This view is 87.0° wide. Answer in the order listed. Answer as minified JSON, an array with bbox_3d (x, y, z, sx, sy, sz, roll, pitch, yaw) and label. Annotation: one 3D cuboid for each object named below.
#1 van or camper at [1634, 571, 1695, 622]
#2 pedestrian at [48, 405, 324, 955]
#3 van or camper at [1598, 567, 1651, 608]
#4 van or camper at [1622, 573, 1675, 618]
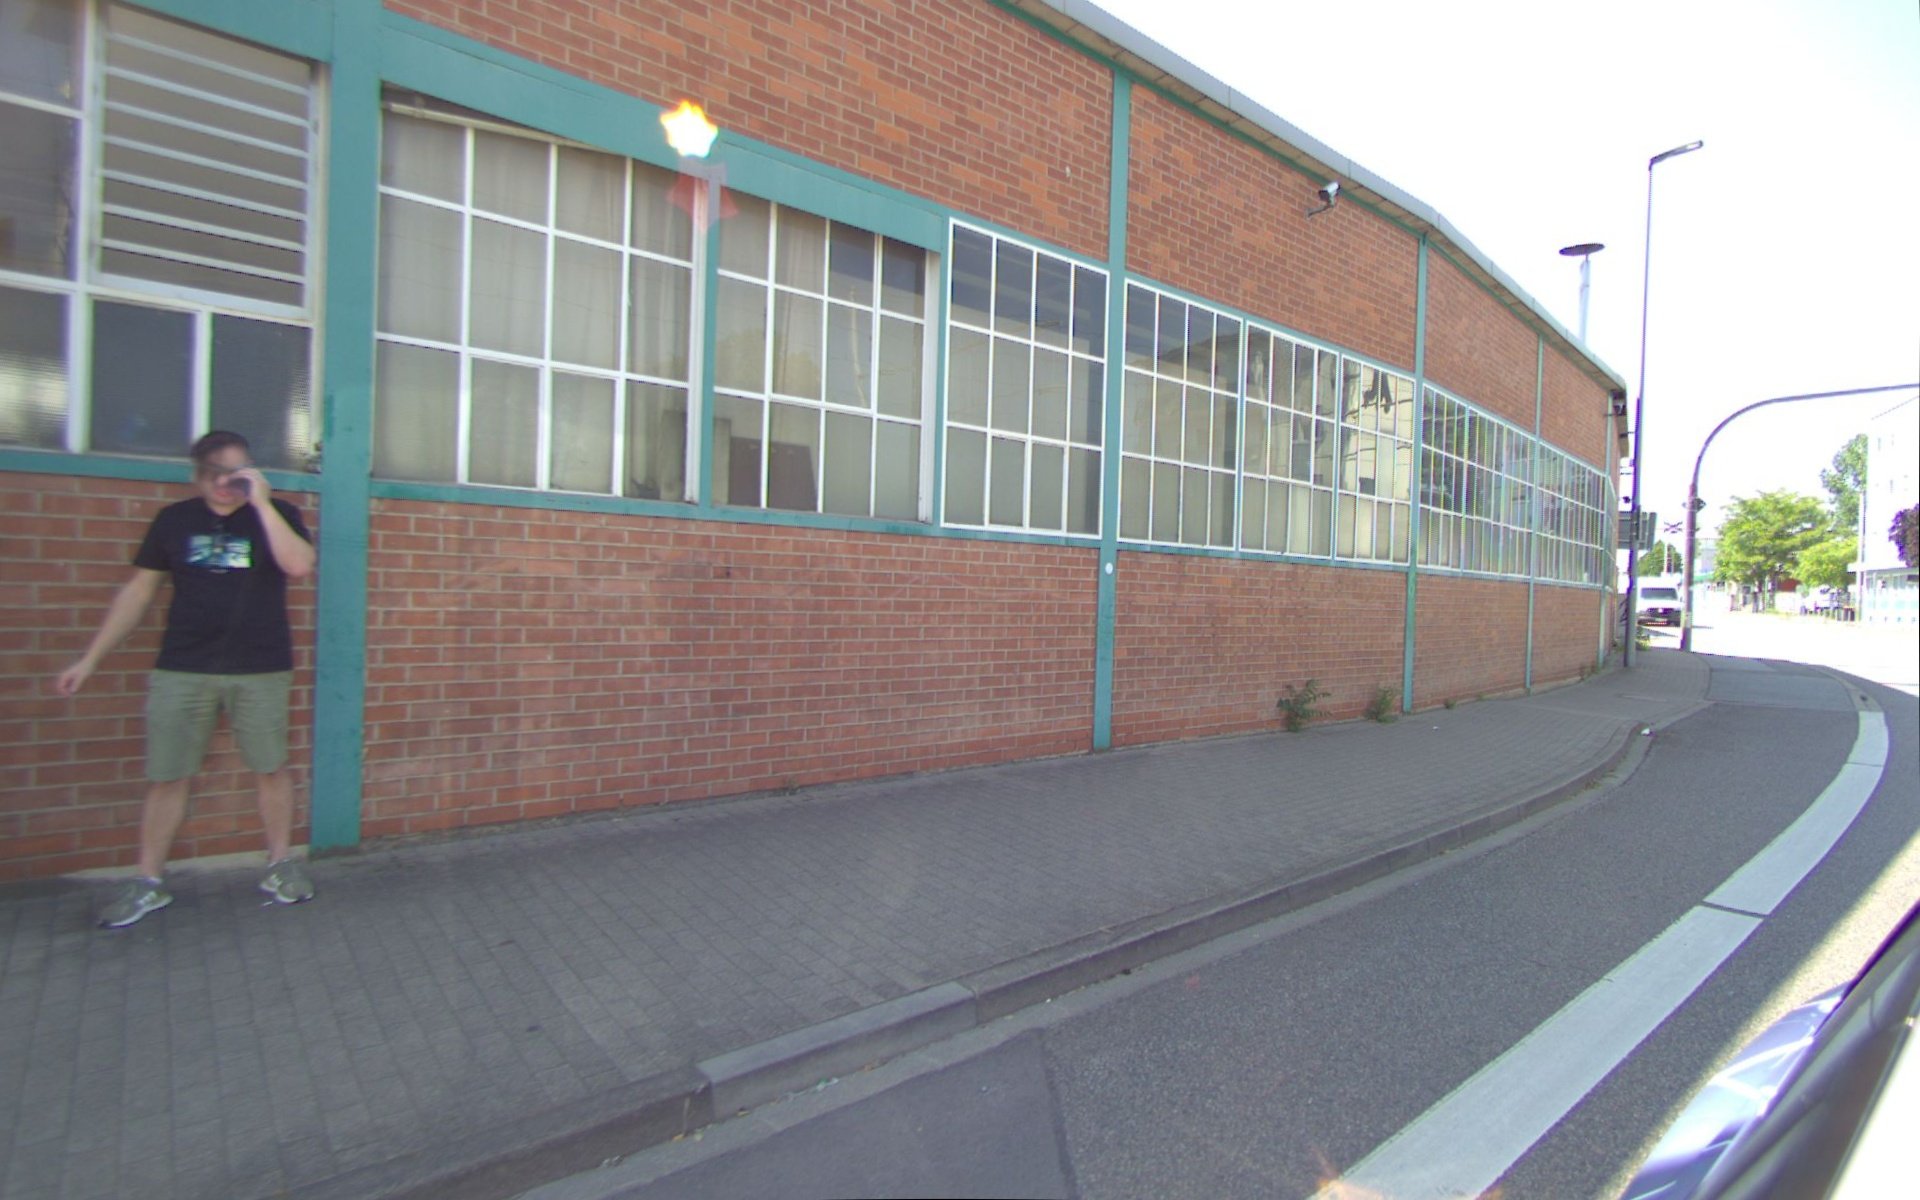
[{"bbox_3d":[38.291,-0.207,55.142,2.026,2.565,5.811,2,1,28],"label":"van or camper"},{"bbox_3d":[-2.797,0.266,3.683,0.674,1.787,0.448,4,-2,-41],"label":"pedestrian"},{"bbox_3d":[48.976,-0.943,74.736,2.501,2.821,7.047,2,1,28],"label":"van or camper"},{"bbox_3d":[41.999,-0.316,61.823,2.026,2.565,5.526,2,1,28],"label":"van or camper"}]
